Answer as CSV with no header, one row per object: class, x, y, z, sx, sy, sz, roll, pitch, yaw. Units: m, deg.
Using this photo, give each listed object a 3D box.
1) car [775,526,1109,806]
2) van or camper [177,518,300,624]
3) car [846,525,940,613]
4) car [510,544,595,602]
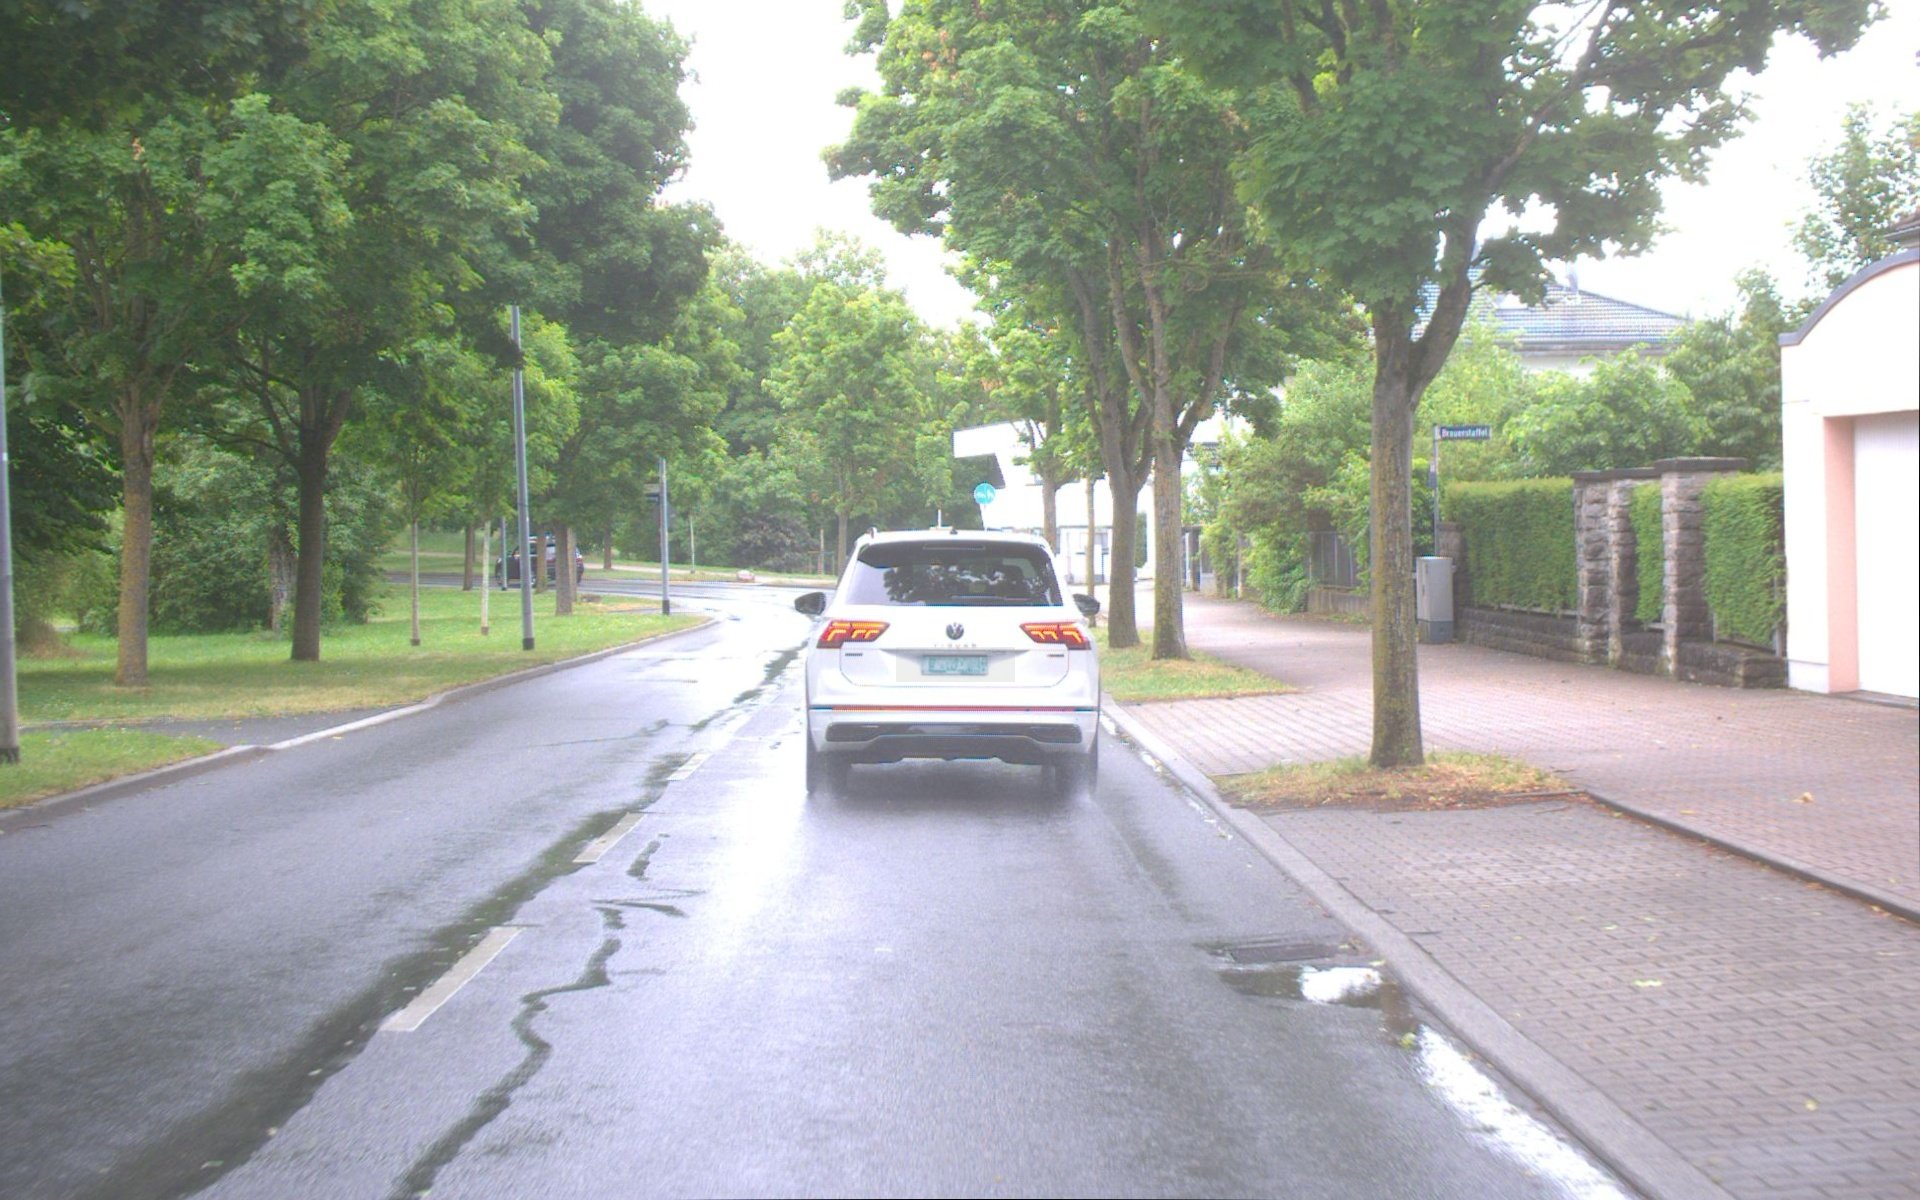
car,-0.101,0.347,22.368,1.974,1.647,4.177,0,1,0
van or camper,-17.270,-0.719,82.617,2.384,2.352,6.813,-2,1,-8
car,-1.607,-0.736,80.899,1.901,2.007,3.945,1,1,-5
car,-14.556,-0.983,122.633,1.900,2.007,3.945,1,1,-24
